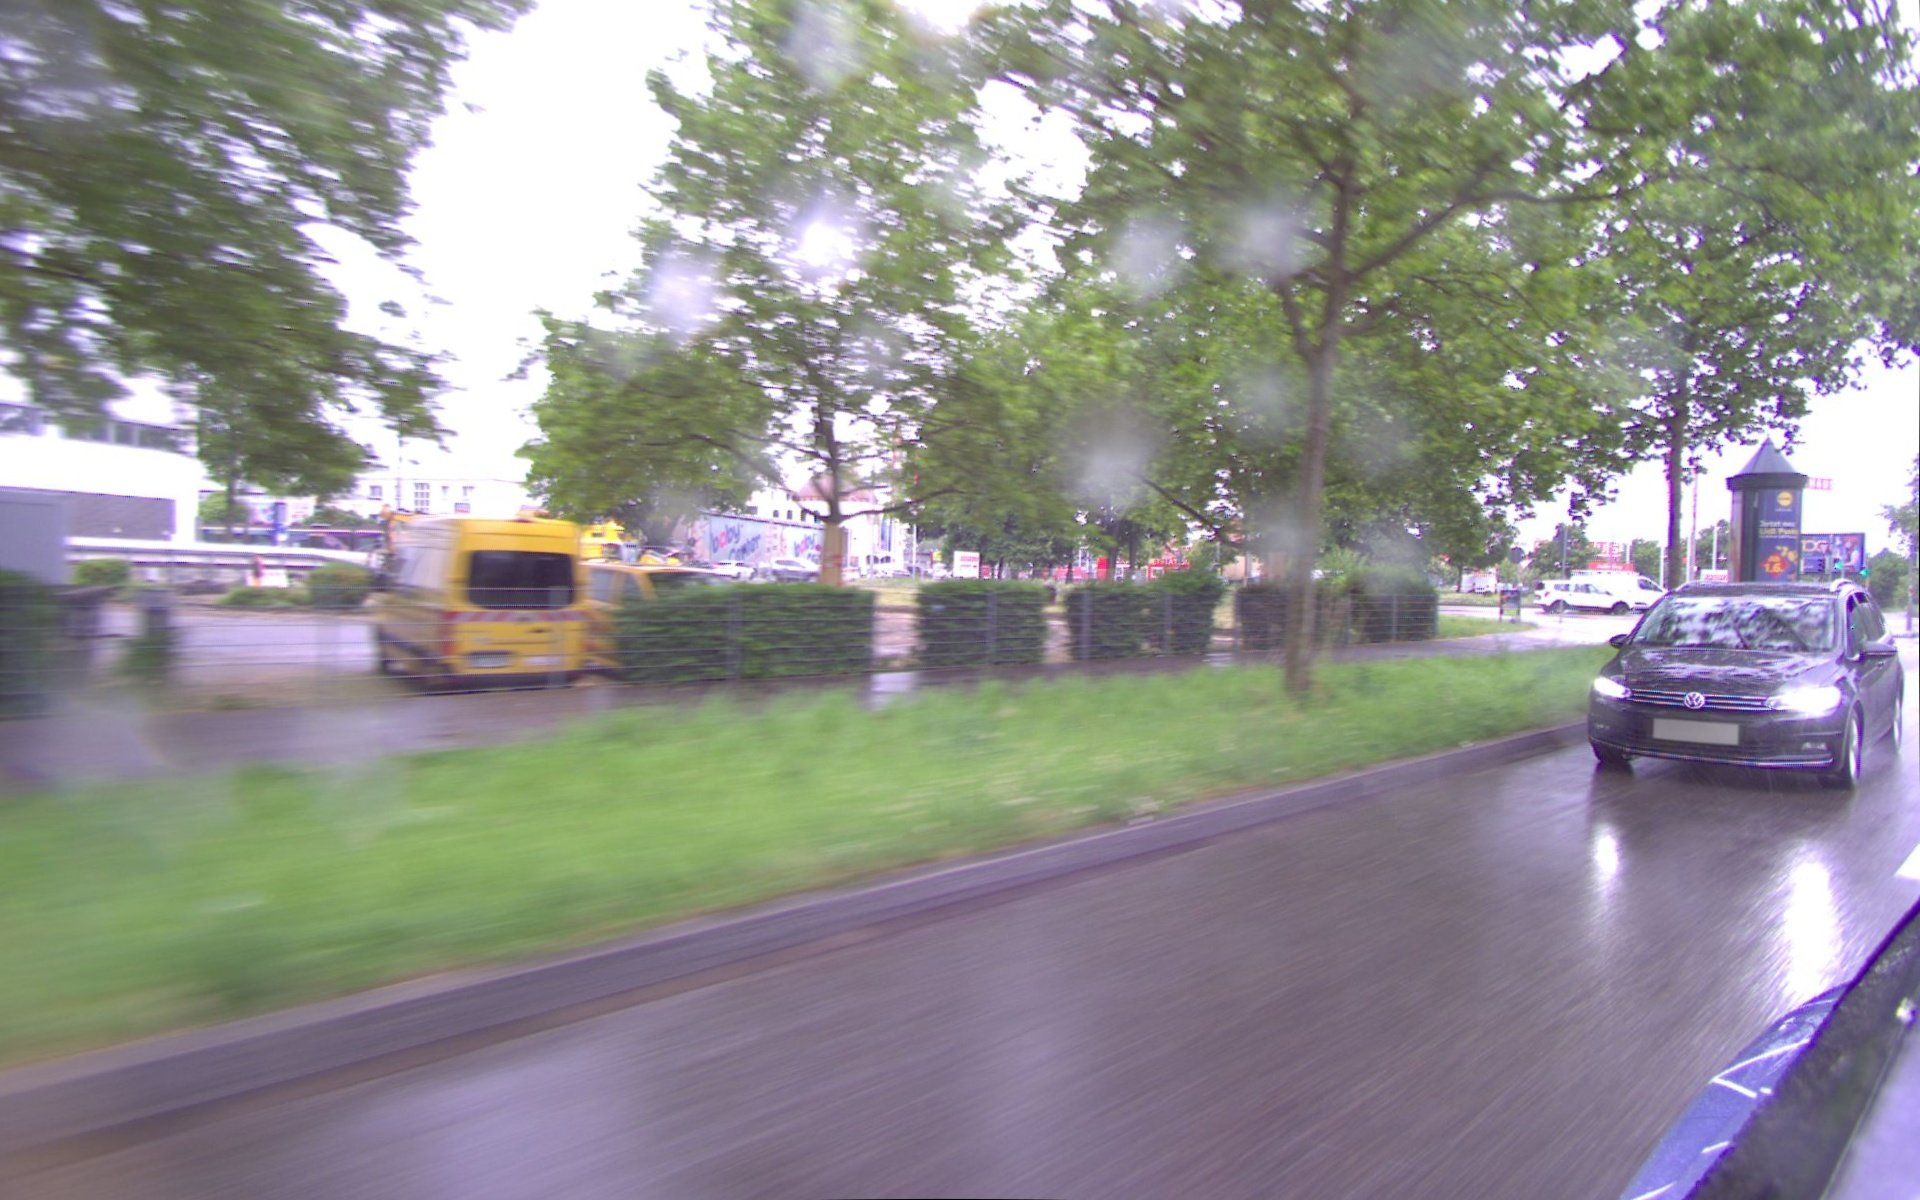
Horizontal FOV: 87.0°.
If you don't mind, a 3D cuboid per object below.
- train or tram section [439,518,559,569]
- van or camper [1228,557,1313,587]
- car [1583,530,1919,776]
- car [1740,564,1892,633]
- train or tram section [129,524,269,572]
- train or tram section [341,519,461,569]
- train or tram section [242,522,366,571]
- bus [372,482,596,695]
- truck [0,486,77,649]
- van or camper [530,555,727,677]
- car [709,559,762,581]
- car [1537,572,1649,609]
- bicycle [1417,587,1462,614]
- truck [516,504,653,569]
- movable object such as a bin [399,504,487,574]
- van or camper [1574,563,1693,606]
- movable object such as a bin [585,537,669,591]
[{"bbox_3d":[-34.149,-4.159,75.040,8.239,3.563,2.393,0,1,12],"label":"train or tram section"},{"bbox_3d":[34.521,-3.158,112.936,8.847,3.196,2.975,0,1,14],"label":"van or camper"},{"bbox_3d":[7.428,0.342,9.271,4.119,1.748,1.859,-1,1,-42],"label":"car"},{"bbox_3d":[28.331,-0.144,33.709,1.904,2.081,4.735,2,2,15],"label":"car"},{"bbox_3d":[-60.443,-4.078,80.410,10.676,3.563,2.393,0,1,12],"label":"train or tram section"},{"bbox_3d":[-42.320,-4.200,76.709,8.396,3.563,2.393,0,1,12],"label":"train or tram section"},{"bbox_3d":[-50.838,-4.128,78.441,8.969,3.563,2.393,0,1,12],"label":"train or tram section"},{"bbox_3d":[-7.304,-0.195,15.227,1.964,2.680,4.803,0,1,-39],"label":"bus"},{"bbox_3d":[-22.599,-0.570,19.909,9.360,3.069,3.069,0,1,14],"label":"truck"},{"bbox_3d":[-6.000,0.228,18.078,1.773,1.931,3.989,0,1,-44],"label":"van or camper"},{"bbox_3d":[-17.195,-2.318,77.740,1.823,1.617,4.595,2,2,20],"label":"car"},{"bbox_3d":[32.070,-0.509,51.387,4.391,1.693,1.863,2,2,11],"label":"car"},{"bbox_3d":[20.191,0.026,42.646,0.795,1.051,1.629,0,2,-20],"label":"bicycle"},{"bbox_3d":[-21.163,-3.471,57.782,2.459,3.386,9.433,0,2,14],"label":"truck"},{"bbox_3d":[-28.326,-3.327,55.594,3.253,3.670,3.618,1,2,-6],"label":"movable object such as a bin"},{"bbox_3d":[35.803,-0.853,53.898,4.831,2.114,1.863,2,2,11],"label":"van or camper"},{"bbox_3d":[-15.372,-1.682,46.761,3.249,2.384,1.996,2,2,26],"label":"movable object such as a bin"}]
